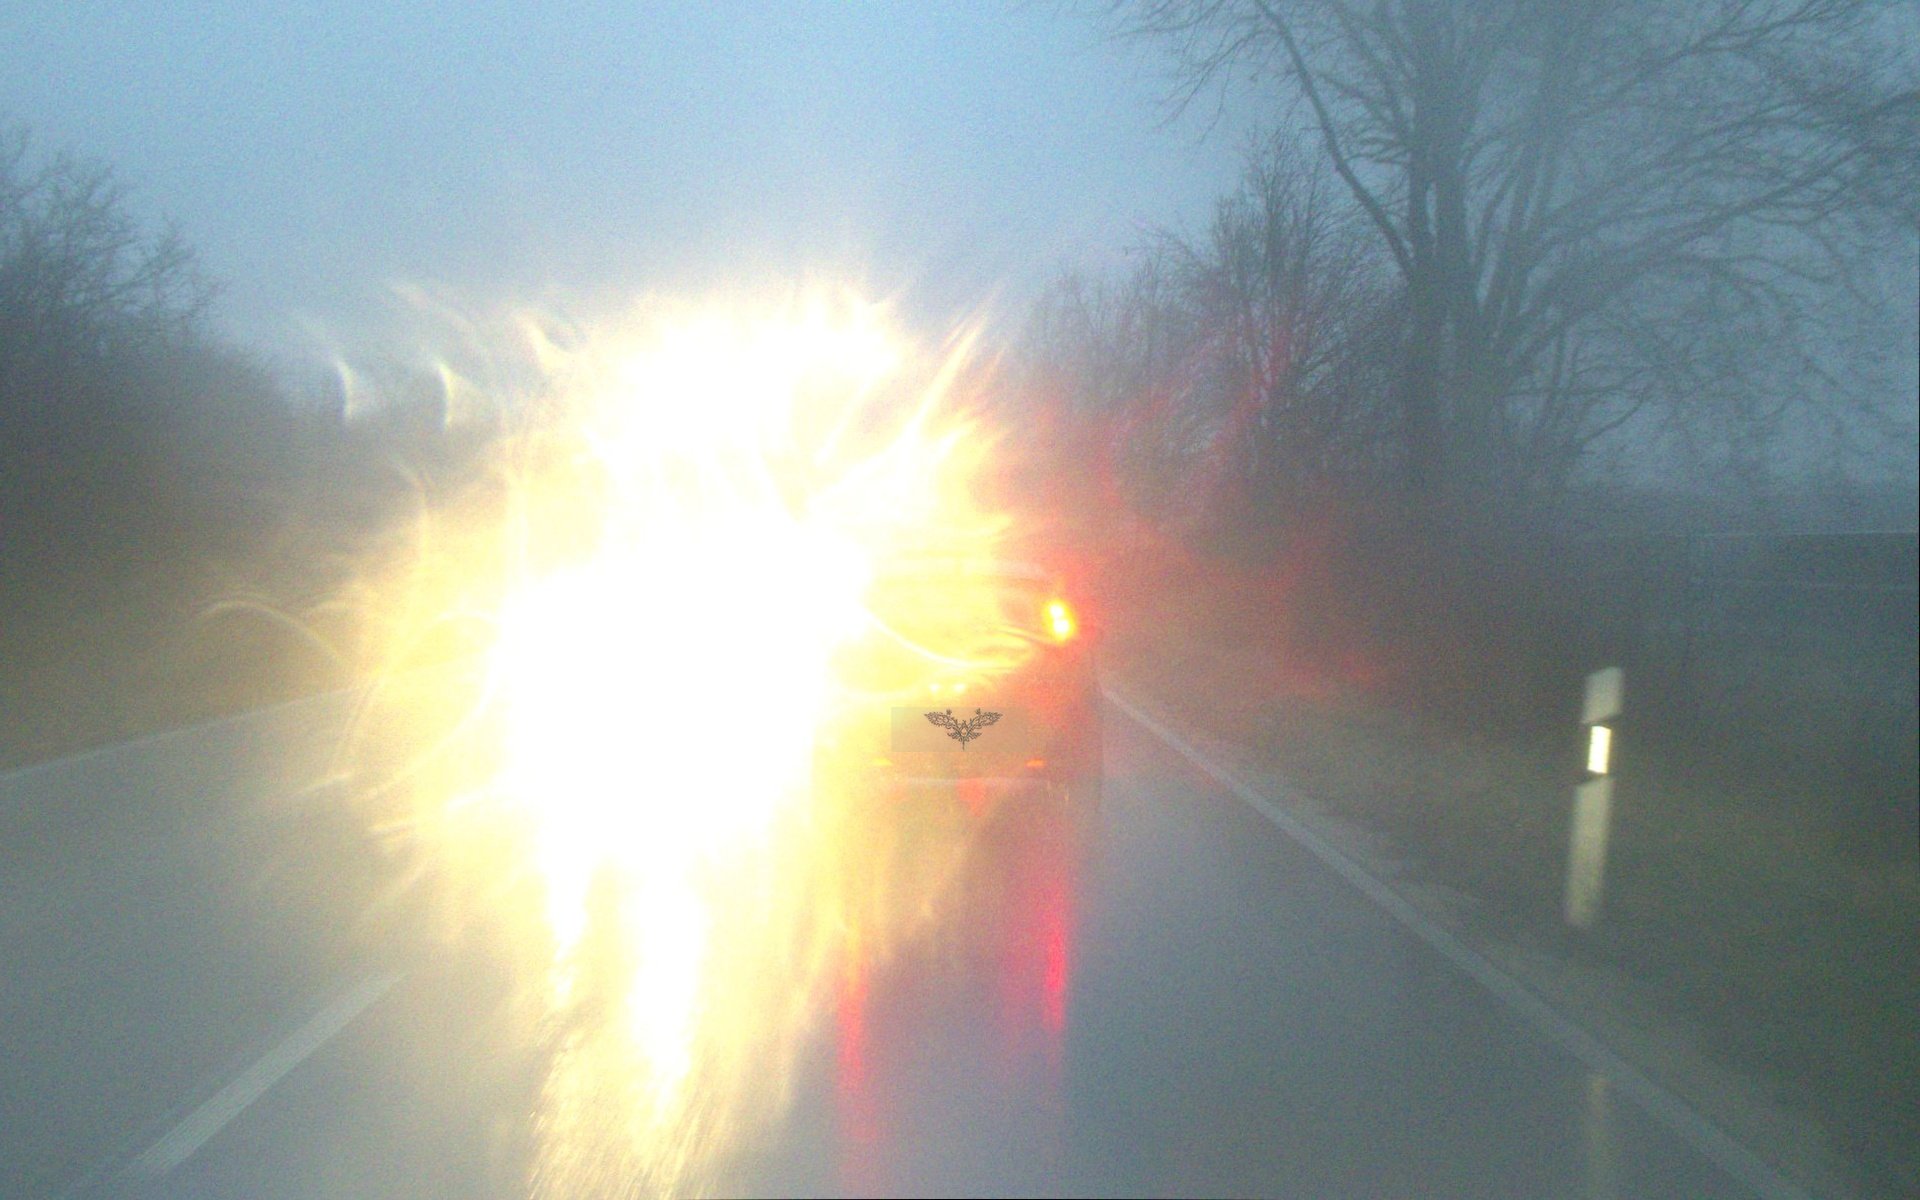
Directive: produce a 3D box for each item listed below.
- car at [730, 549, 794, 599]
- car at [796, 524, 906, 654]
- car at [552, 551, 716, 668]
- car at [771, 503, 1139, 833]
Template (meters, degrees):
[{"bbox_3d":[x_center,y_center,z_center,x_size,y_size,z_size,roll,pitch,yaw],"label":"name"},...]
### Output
[{"bbox_3d":[-6.028,-0.809,105.058,1.751,1.469,3.891,1,1,-1],"label":"car"},{"bbox_3d":[-1.664,-0.192,52.248,1.574,1.868,3.709,1,1,-2],"label":"car"},{"bbox_3d":[-4.226,0.095,44.971,1.817,1.436,3.456,1,1,-1],"label":"car"},{"bbox_3d":[-0.005,0.346,20.961,1.993,1.778,4.000,1,1,1],"label":"car"}]
